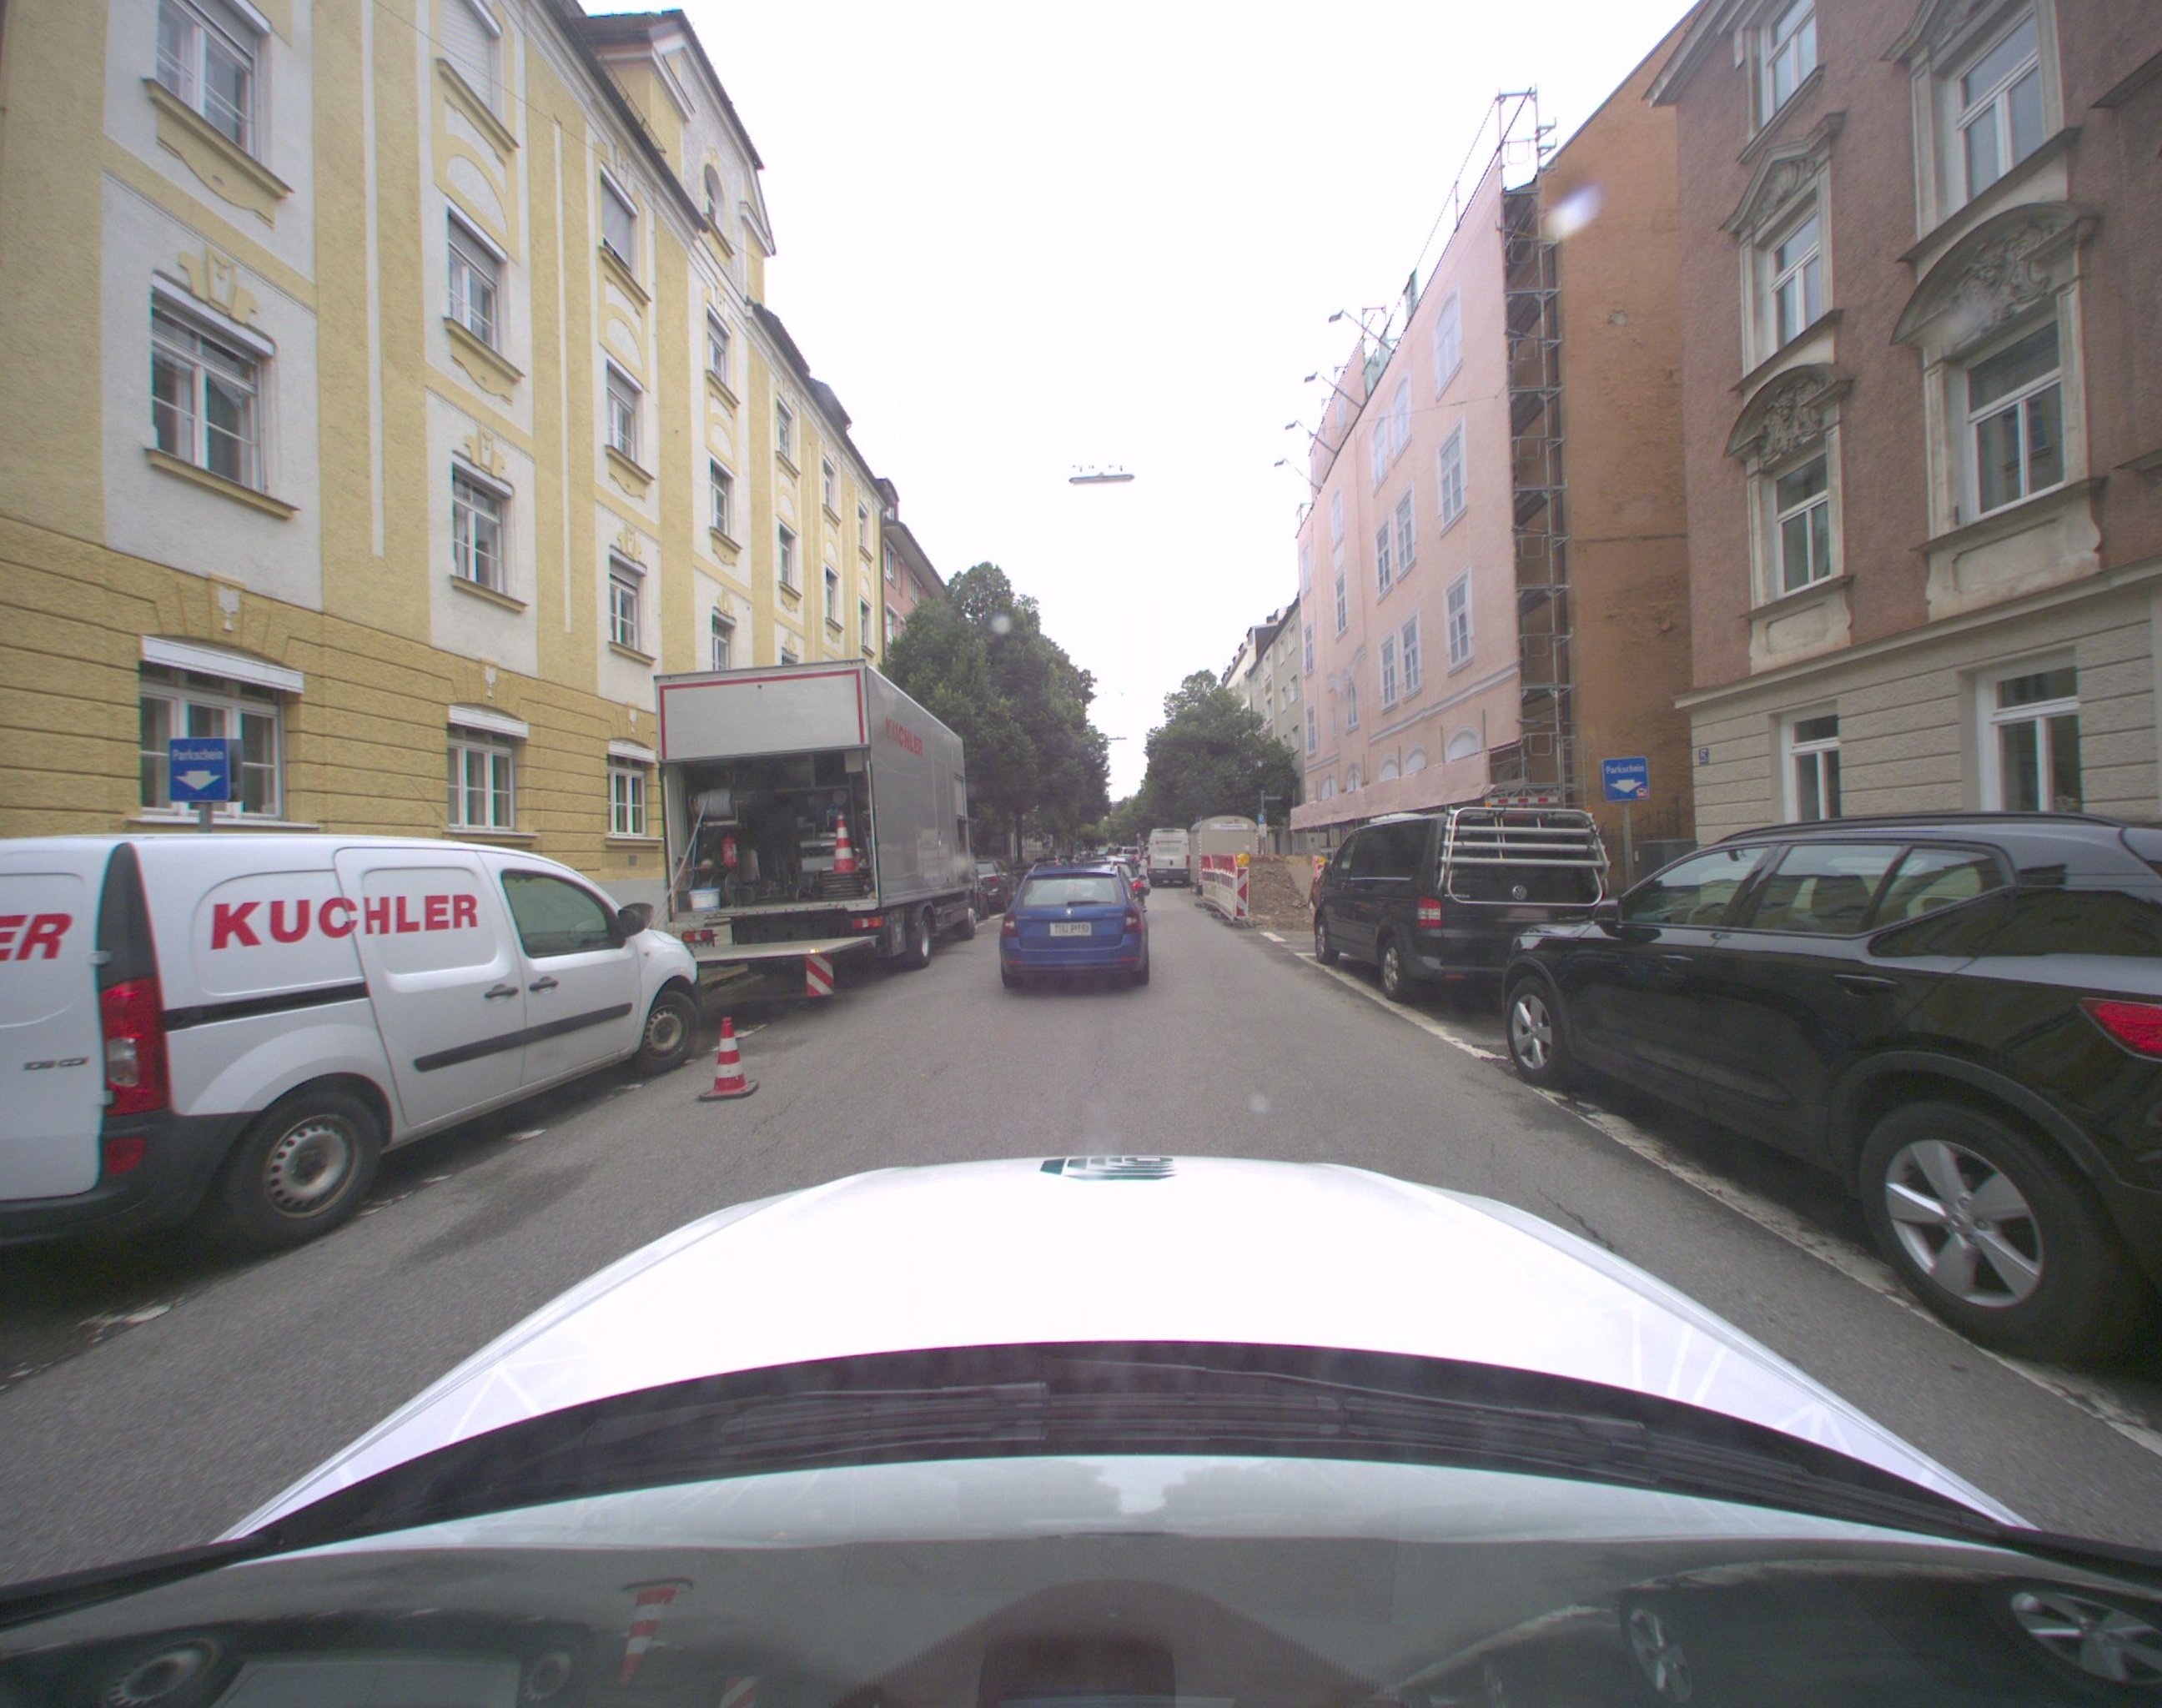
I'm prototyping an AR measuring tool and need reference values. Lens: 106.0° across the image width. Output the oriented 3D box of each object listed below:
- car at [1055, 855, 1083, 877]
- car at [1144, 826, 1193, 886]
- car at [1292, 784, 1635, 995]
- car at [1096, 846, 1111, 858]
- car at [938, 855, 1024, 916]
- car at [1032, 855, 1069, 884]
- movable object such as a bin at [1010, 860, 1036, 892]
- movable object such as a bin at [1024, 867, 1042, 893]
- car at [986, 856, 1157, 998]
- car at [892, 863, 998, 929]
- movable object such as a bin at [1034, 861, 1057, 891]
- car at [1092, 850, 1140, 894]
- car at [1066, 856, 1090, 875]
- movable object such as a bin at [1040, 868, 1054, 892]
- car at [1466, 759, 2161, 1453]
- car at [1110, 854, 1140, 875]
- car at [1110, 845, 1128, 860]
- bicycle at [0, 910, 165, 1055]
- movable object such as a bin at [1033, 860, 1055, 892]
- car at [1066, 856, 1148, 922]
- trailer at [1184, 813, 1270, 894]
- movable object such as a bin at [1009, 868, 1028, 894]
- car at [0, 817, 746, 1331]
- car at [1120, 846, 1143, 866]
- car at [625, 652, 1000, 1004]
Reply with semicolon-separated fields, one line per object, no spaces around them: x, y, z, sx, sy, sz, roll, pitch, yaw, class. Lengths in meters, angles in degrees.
-0.812;0.818;56.887;1.806;1.478;4.001;-1;0;1;car
4.308;0.117;39.326;2.100;2.664;5.513;0;-1;9;car
4.151;0.436;10.027;2.073;1.921;5.145;0;-3;4;car
3.075;-0.290;111.889;2.000;1.653;4.349;0;0;1;car
-2.971;0.898;25.059;1.777;1.628;4.189;-3;0;4;car
-1.682;0.845;46.172;1.806;1.478;4.001;-1;0;1;car
-2.739;1.022;38.295;1.078;1.376;1.083;-4;0;-1;movable object such as a bin
-2.195;1.186;37.442;0.709;1.148;0.636;-4;0;-1;movable object such as a bin
0.034;0.790;10.832;1.781;1.460;4.319;-2;0;4;car
-3.267;0.976;20.254;1.691;1.409;3.713;-2;-1;5;car
-1.697;1.041;39.441;1.017;1.376;1.103;-4;0;-1;movable object such as a bin
1.457;0.688;33.944;1.860;1.696;4.350;0;0;2;car
-0.219;0.930;68.922;1.805;1.478;4.003;-1;0;3;car
-1.576;1.188;37.481;0.545;1.020;0.636;-4;0;-1;movable object such as a bin
3.611;0.643;3.922;1.686;1.676;4.412;1;0;4;car
3.016;0.723;56.816;1.861;1.348;4.347;0;0;0;car
4.271;-0.149;91.271;1.860;1.653;4.351;0;0;3;car
-9.044;1.087;6.887;0.505;1.104;1.767;1;-1;2;bicycle
-1.743;1.025;38.343;0.915;1.376;1.079;-4;0;-1;movable object such as a bin
0.701;0.765;19.406;1.733;1.422;3.668;-1;0;5;car
5.569;0.032;32.175;2.492;2.840;6.906;0;-1;3;trailer
-2.861;1.229;37.410;0.719;1.138;0.658;-4;0;-1;movable object such as a bin
-4.032;0.818;5.057;1.755;1.779;4.331;-4;0;4;car
4.754;0.155;77.048;1.862;1.870;4.345;0;0;-1;car
-3.428;-0.263;13.399;2.801;3.817;8.729;-2;0;3;car
